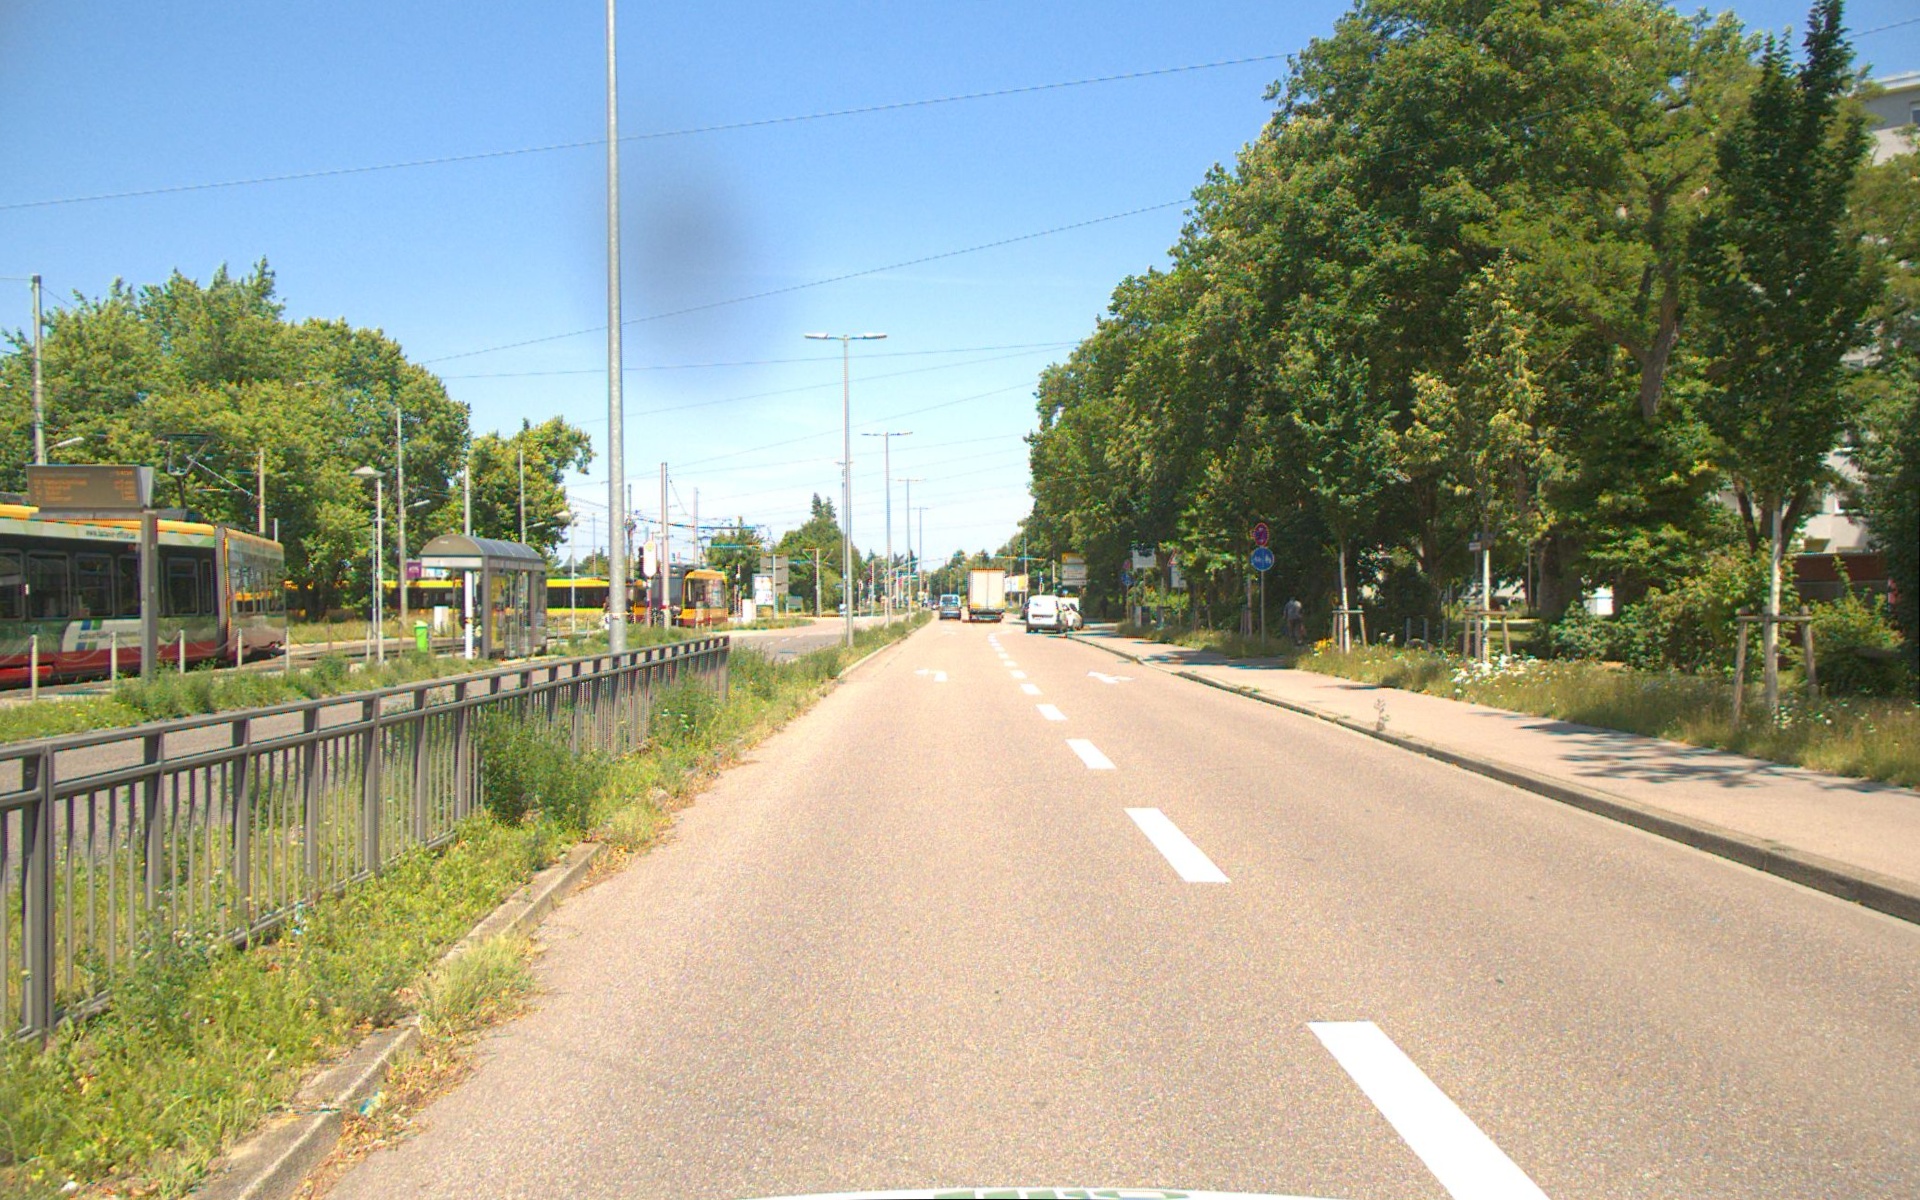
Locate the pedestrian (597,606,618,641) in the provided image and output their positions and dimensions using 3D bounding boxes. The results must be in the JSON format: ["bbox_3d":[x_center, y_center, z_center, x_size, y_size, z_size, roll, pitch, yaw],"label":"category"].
[{"bbox_3d":[-12.446,0.836,58.409,0.568,1.210,0.536,1,0,1],"label":"pedestrian"}]

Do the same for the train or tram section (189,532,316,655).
[{"bbox_3d":[-23.968,-0.236,55.619,3.008,3.688,12.340,1,0,-27],"label":"train or tram section"}]

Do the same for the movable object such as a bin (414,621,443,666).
[{"bbox_3d":[-11.977,0.977,37.259,0.472,0.995,0.644,0,0,-4],"label":"movable object such as a bin"}]

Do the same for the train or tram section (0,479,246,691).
[{"bbox_3d":[-18.313,-0.289,32.483,2.982,3.688,13.891,1,0,-2],"label":"train or tram section"}]

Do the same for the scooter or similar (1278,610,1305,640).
[{"bbox_3d":[10.406,0.791,51.953,0.693,0.909,0.763,1,0,1],"label":"scooter or similar"}]

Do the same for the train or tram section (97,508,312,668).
[{"bbox_3d":[-19.900,-0.299,44.465,2.992,3.688,12.405,1,0,-14],"label":"train or tram section"}]

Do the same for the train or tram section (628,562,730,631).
[{"bbox_3d":[-15.441,-0.194,91.985,2.973,3.526,13.295,1,0,2],"label":"train or tram section"}]

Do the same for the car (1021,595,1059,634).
[{"bbox_3d":[3.843,0.679,80.401,1.674,1.778,4.427,1,0,1],"label":"car"}]

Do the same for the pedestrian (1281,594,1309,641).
[{"bbox_3d":[10.407,0.536,51.393,0.693,1.422,0.763,1,0,1],"label":"pedestrian"}]

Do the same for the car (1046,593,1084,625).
[{"bbox_3d":[5.675,0.463,90.165,1.665,1.683,4.397,1,0,-2],"label":"car"}]

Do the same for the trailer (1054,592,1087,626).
[{"bbox_3d":[5.781,0.468,86.532,1.439,1.698,2.855,1,0,-2],"label":"trailer"}]

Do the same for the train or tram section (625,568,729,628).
[{"bbox_3d":[-17.838,-0.168,103.619,3.005,3.526,10.117,1,0,-31],"label":"train or tram section"}]

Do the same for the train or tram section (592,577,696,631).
[{"bbox_3d":[-21.977,0.192,114.219,3.005,3.526,12.618,1,0,-31],"label":"train or tram section"}]

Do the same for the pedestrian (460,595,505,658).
[{"bbox_3d":[-12.326,0.674,42.718,0.856,1.573,1.025,1,0,-2],"label":"pedestrian"}]

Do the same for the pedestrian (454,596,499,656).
[{"bbox_3d":[-12.815,0.681,43.834,0.912,1.573,0.985,1,0,-3],"label":"pedestrian"}]

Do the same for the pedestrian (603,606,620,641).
[{"bbox_3d":[-12.406,0.830,58.910,0.484,1.210,0.401,1,0,1],"label":"pedestrian"}]

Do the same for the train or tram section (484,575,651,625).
[{"bbox_3d":[-29.477,-0.026,124.169,12.443,3.526,3.047,1,0,19],"label":"train or tram section"}]

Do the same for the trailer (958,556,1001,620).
[{"bbox_3d":[1.393,-0.883,121.880,2.770,4.499,8.746,1,0,-2],"label":"trailer"}]

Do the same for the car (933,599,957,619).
[{"bbox_3d":[-1.232,0.693,132.942,1.854,1.395,4.430,2,1,-1],"label":"car"}]

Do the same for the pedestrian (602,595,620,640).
[{"bbox_3d":[-12.627,0.625,59.836,0.524,1.593,0.582,1,0,-2],"label":"pedestrian"}]

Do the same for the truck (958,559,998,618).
[{"bbox_3d":[1.359,-0.914,130.348,2.770,4.420,8.281,1,1,-2],"label":"truck"}]

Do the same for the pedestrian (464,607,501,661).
[{"bbox_3d":[-11.816,0.839,40.923,0.687,1.306,0.839,1,0,-2],"label":"pedestrian"}]

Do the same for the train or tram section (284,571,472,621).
[{"bbox_3d":[-43.904,-0.276,125.093,12.968,3.526,3.042,1,0,-7],"label":"train or tram section"}]
